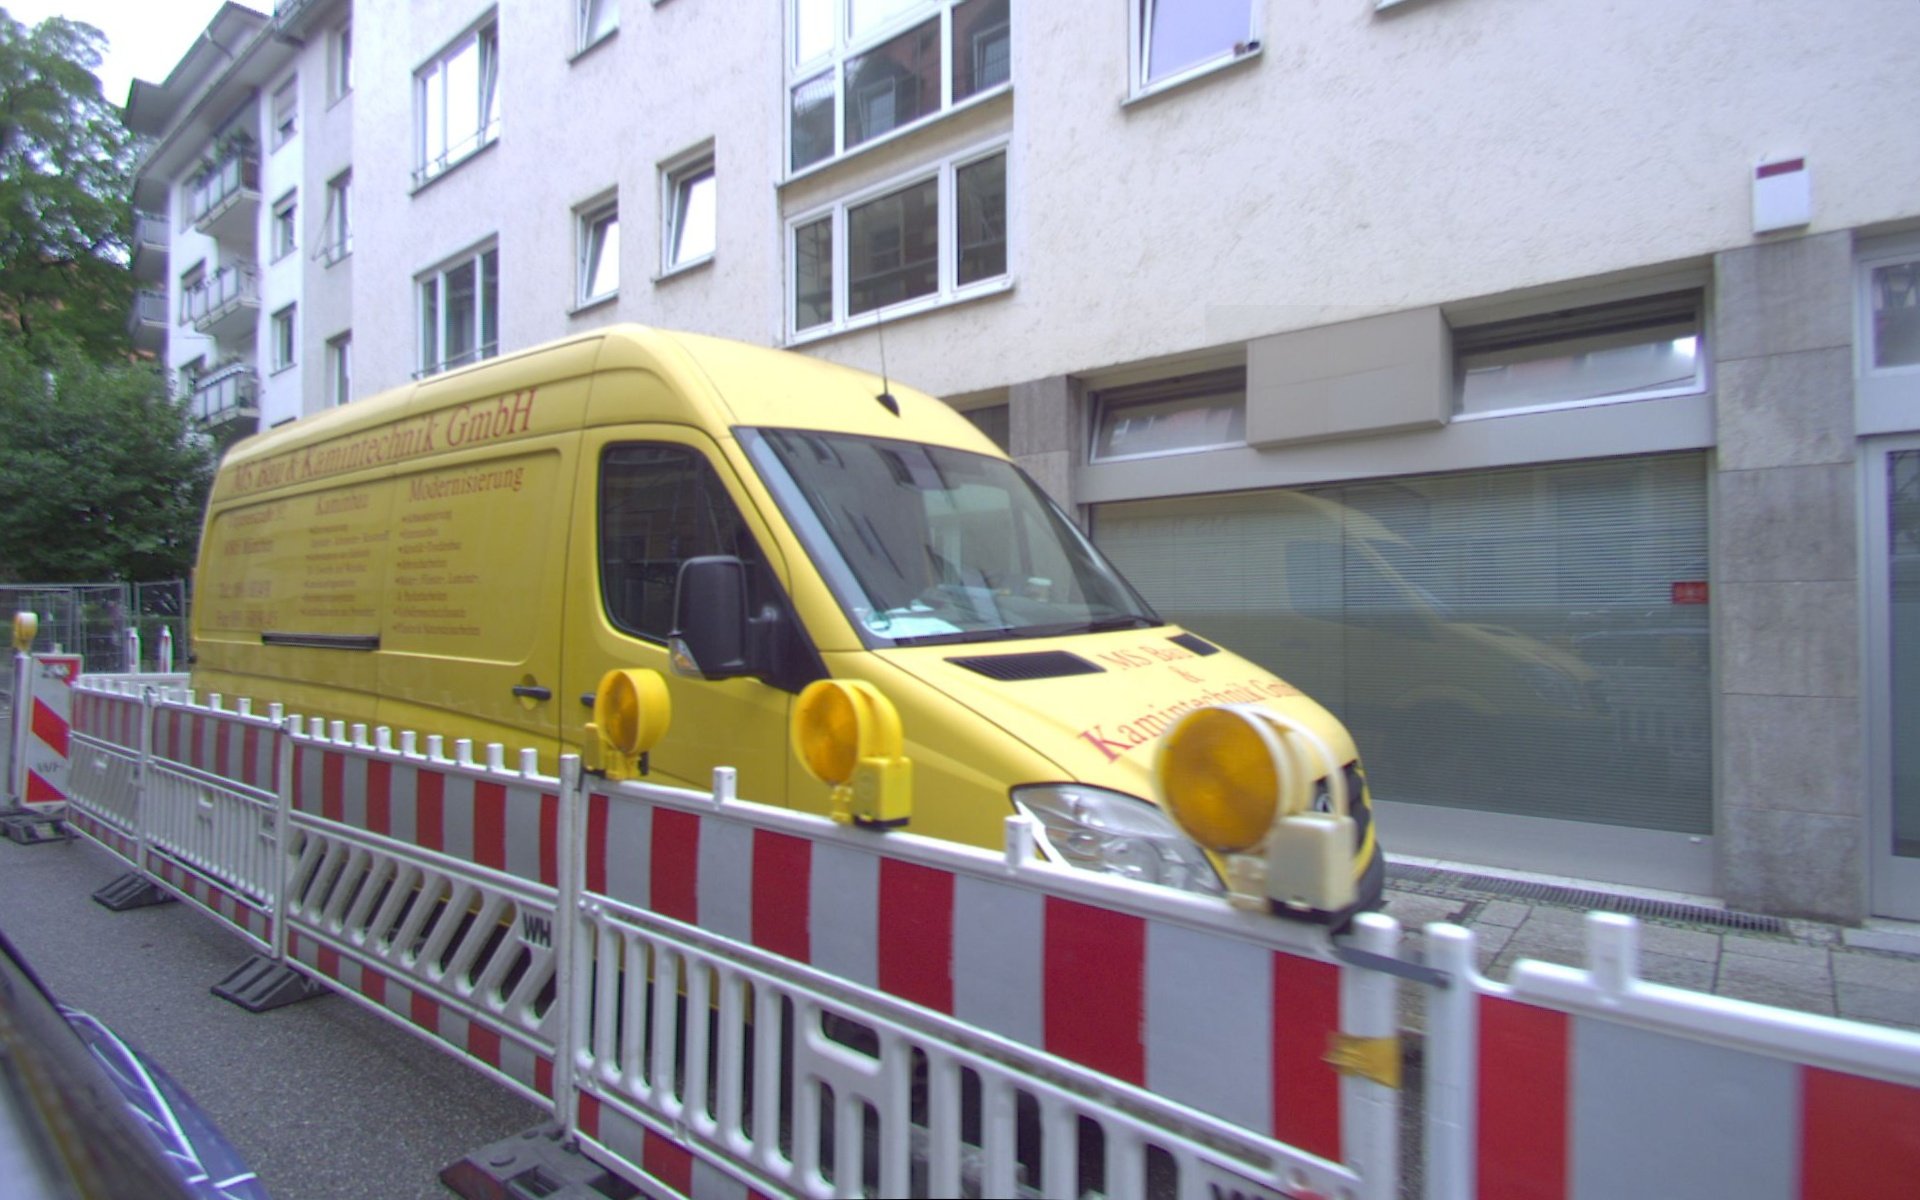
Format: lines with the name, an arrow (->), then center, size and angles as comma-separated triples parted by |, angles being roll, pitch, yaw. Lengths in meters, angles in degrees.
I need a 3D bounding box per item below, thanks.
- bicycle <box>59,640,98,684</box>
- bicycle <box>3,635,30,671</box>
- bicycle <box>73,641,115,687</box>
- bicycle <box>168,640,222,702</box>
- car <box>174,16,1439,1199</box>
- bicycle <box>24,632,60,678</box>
bicycle -> -21.816, 1.522, 25.037 | 1.852, 0.986, 0.439 | 0, 2, 41
bicycle -> -29.057, 1.615, 31.151 | 1.778, 1.080, 0.343 | -2, 2, 40
bicycle -> -20.398, 1.495, 23.827 | 1.815, 0.986, 0.439 | 0, 2, 41
bicycle -> -14.238, 1.308, 18.831 | 1.596, 1.070, 0.373 | -2, 4, 40
car -> -1.572, 0.219, 4.878 | 6.728, 2.598, 1.974 | -2, -2, 39
bicycle -> -24.976, 1.485, 27.530 | 1.698, 1.160, 0.483 | 0, 2, 41
